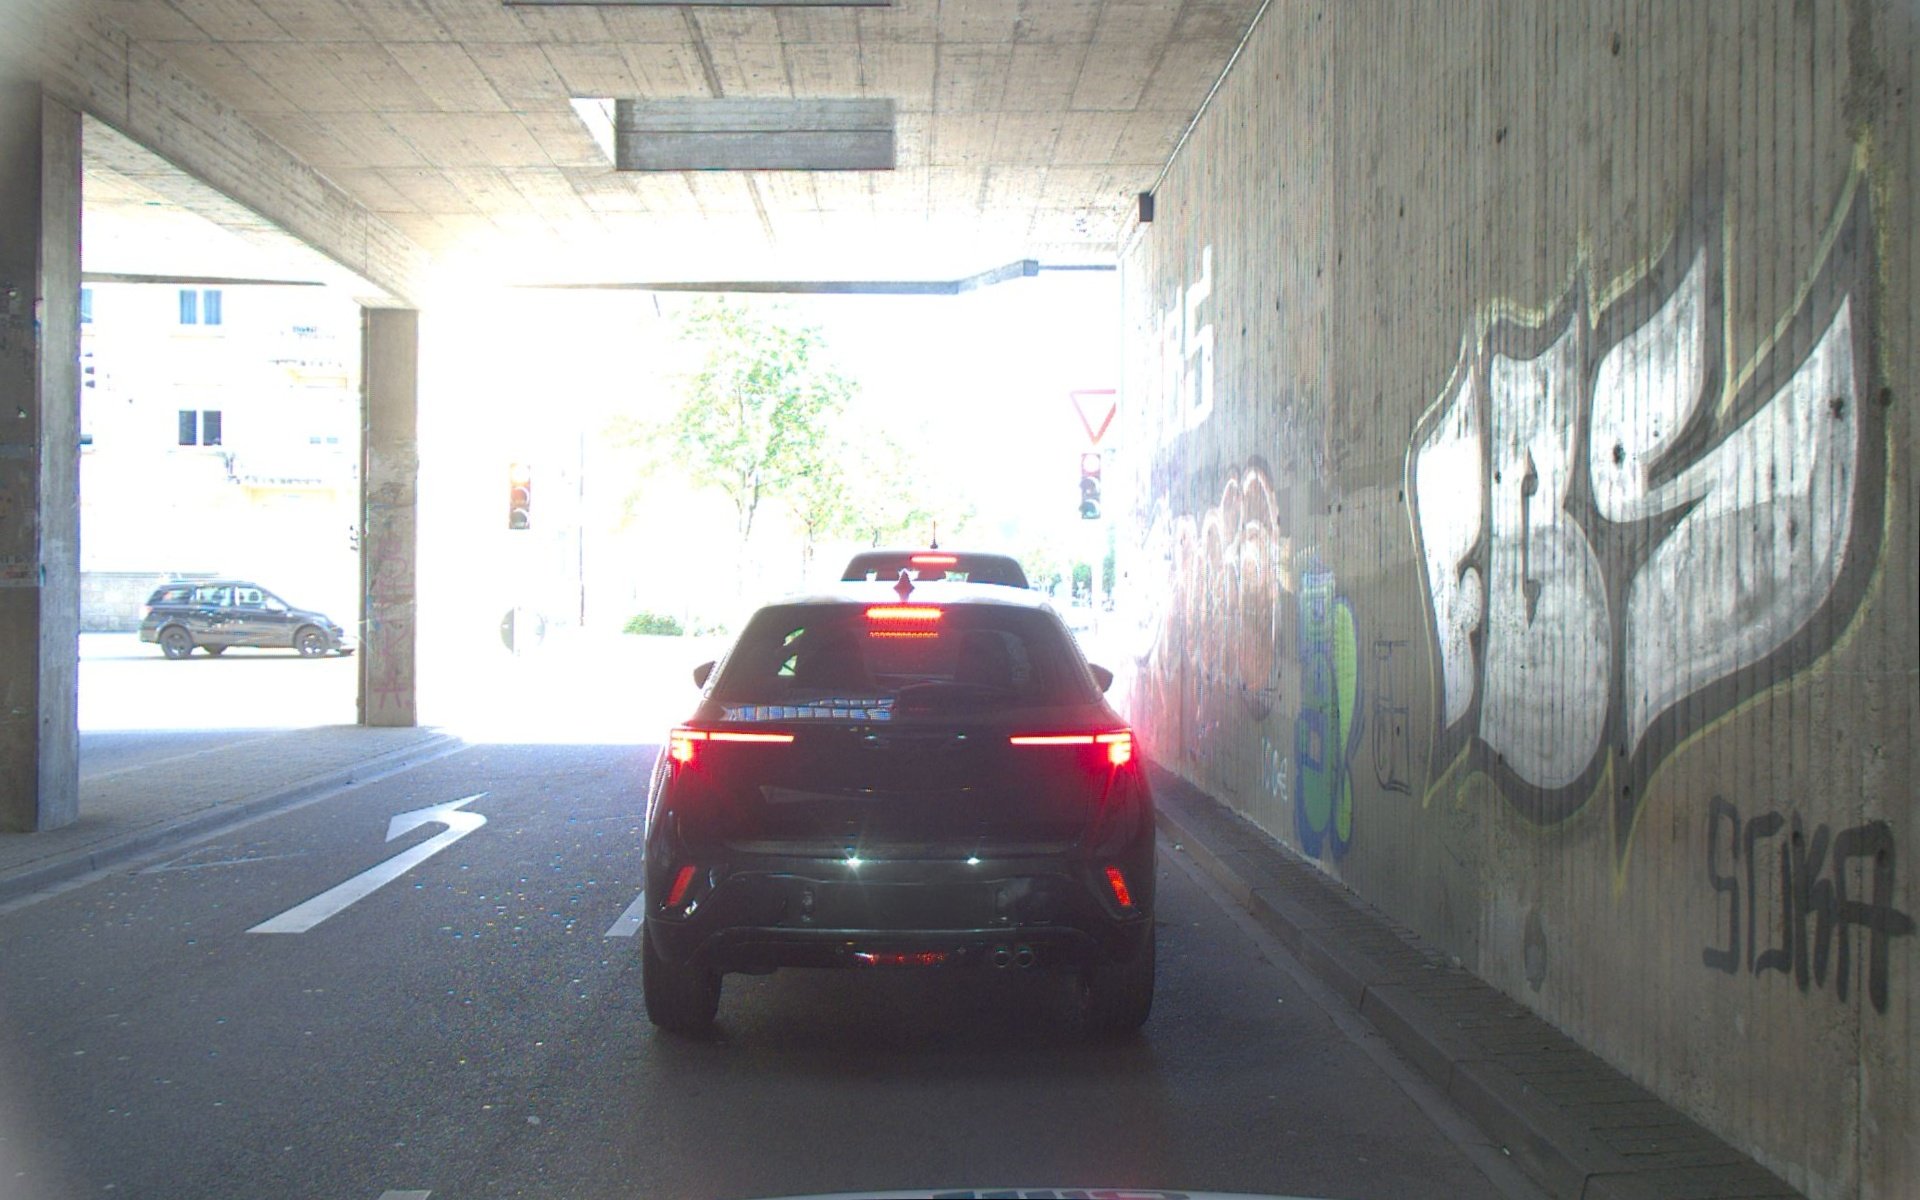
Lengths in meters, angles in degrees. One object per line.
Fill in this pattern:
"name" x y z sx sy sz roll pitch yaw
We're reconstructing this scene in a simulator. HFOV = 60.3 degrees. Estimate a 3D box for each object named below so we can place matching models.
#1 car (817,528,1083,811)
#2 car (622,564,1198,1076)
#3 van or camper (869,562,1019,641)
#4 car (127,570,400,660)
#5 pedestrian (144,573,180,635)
"car" -0.090 0.452 13.031 1.749 1.865 3.960 1 0 -1
"car" -0.167 0.656 7.019 1.718 1.525 4.000 1 0 -1
"van or camper" -0.397 0.040 44.264 3.795 2.049 2.002 0 0 7
"car" -13.597 0.269 32.434 4.481 1.670 2.001 0 1 4
"pedestrian" -22.521 0.114 46.702 0.707 1.734 0.623 1 0 -8
